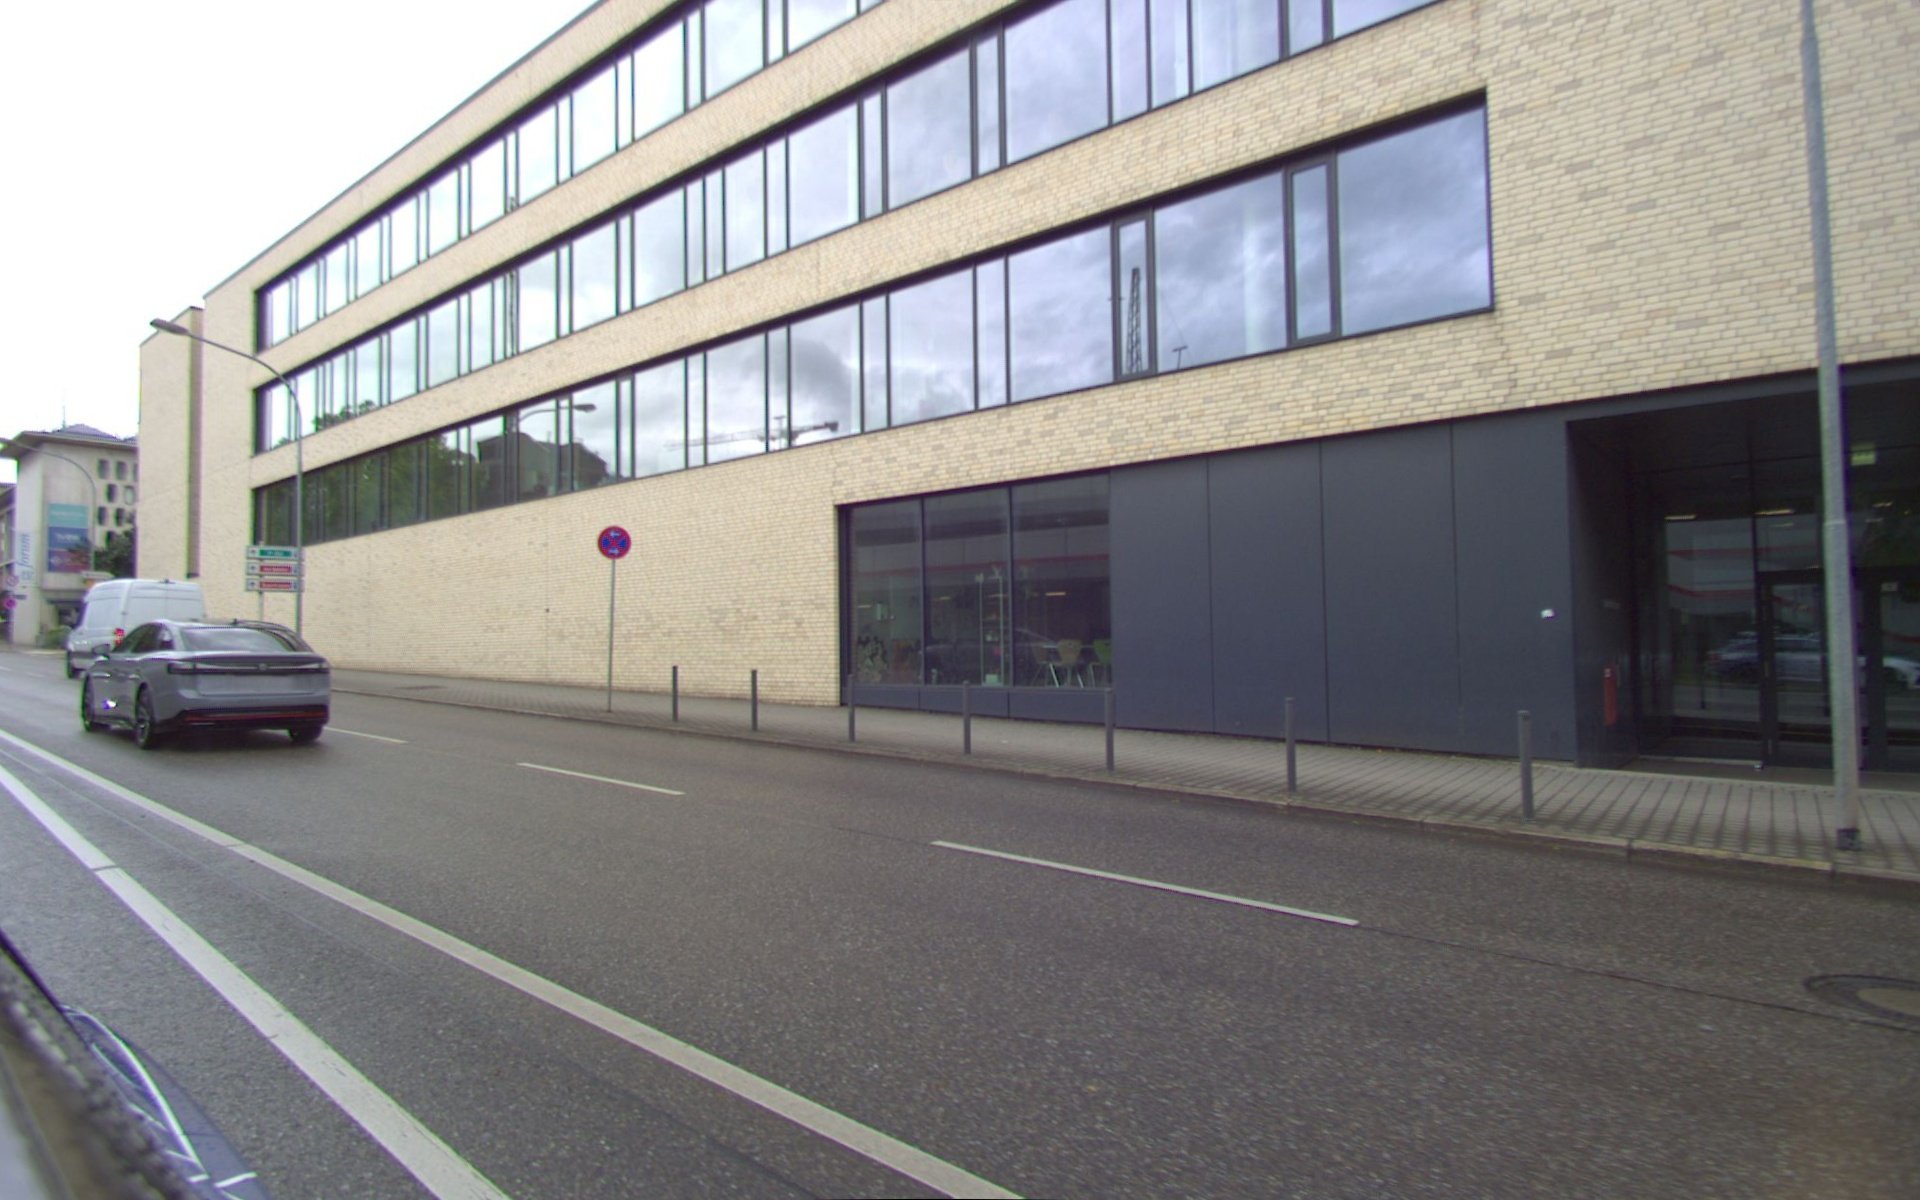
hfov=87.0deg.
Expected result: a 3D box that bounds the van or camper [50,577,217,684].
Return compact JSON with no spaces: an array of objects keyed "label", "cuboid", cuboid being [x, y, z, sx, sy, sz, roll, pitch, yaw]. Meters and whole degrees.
[{"label":"van or camper","cuboid":[-22.288,0.823,27.199,5.899,2.602,2.082,-1,-3,38]}]

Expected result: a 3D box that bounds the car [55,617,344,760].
[{"label":"car","cuboid":[-9.805,1.011,12.918,4.557,1.509,1.864,-1,-3,39]}]
